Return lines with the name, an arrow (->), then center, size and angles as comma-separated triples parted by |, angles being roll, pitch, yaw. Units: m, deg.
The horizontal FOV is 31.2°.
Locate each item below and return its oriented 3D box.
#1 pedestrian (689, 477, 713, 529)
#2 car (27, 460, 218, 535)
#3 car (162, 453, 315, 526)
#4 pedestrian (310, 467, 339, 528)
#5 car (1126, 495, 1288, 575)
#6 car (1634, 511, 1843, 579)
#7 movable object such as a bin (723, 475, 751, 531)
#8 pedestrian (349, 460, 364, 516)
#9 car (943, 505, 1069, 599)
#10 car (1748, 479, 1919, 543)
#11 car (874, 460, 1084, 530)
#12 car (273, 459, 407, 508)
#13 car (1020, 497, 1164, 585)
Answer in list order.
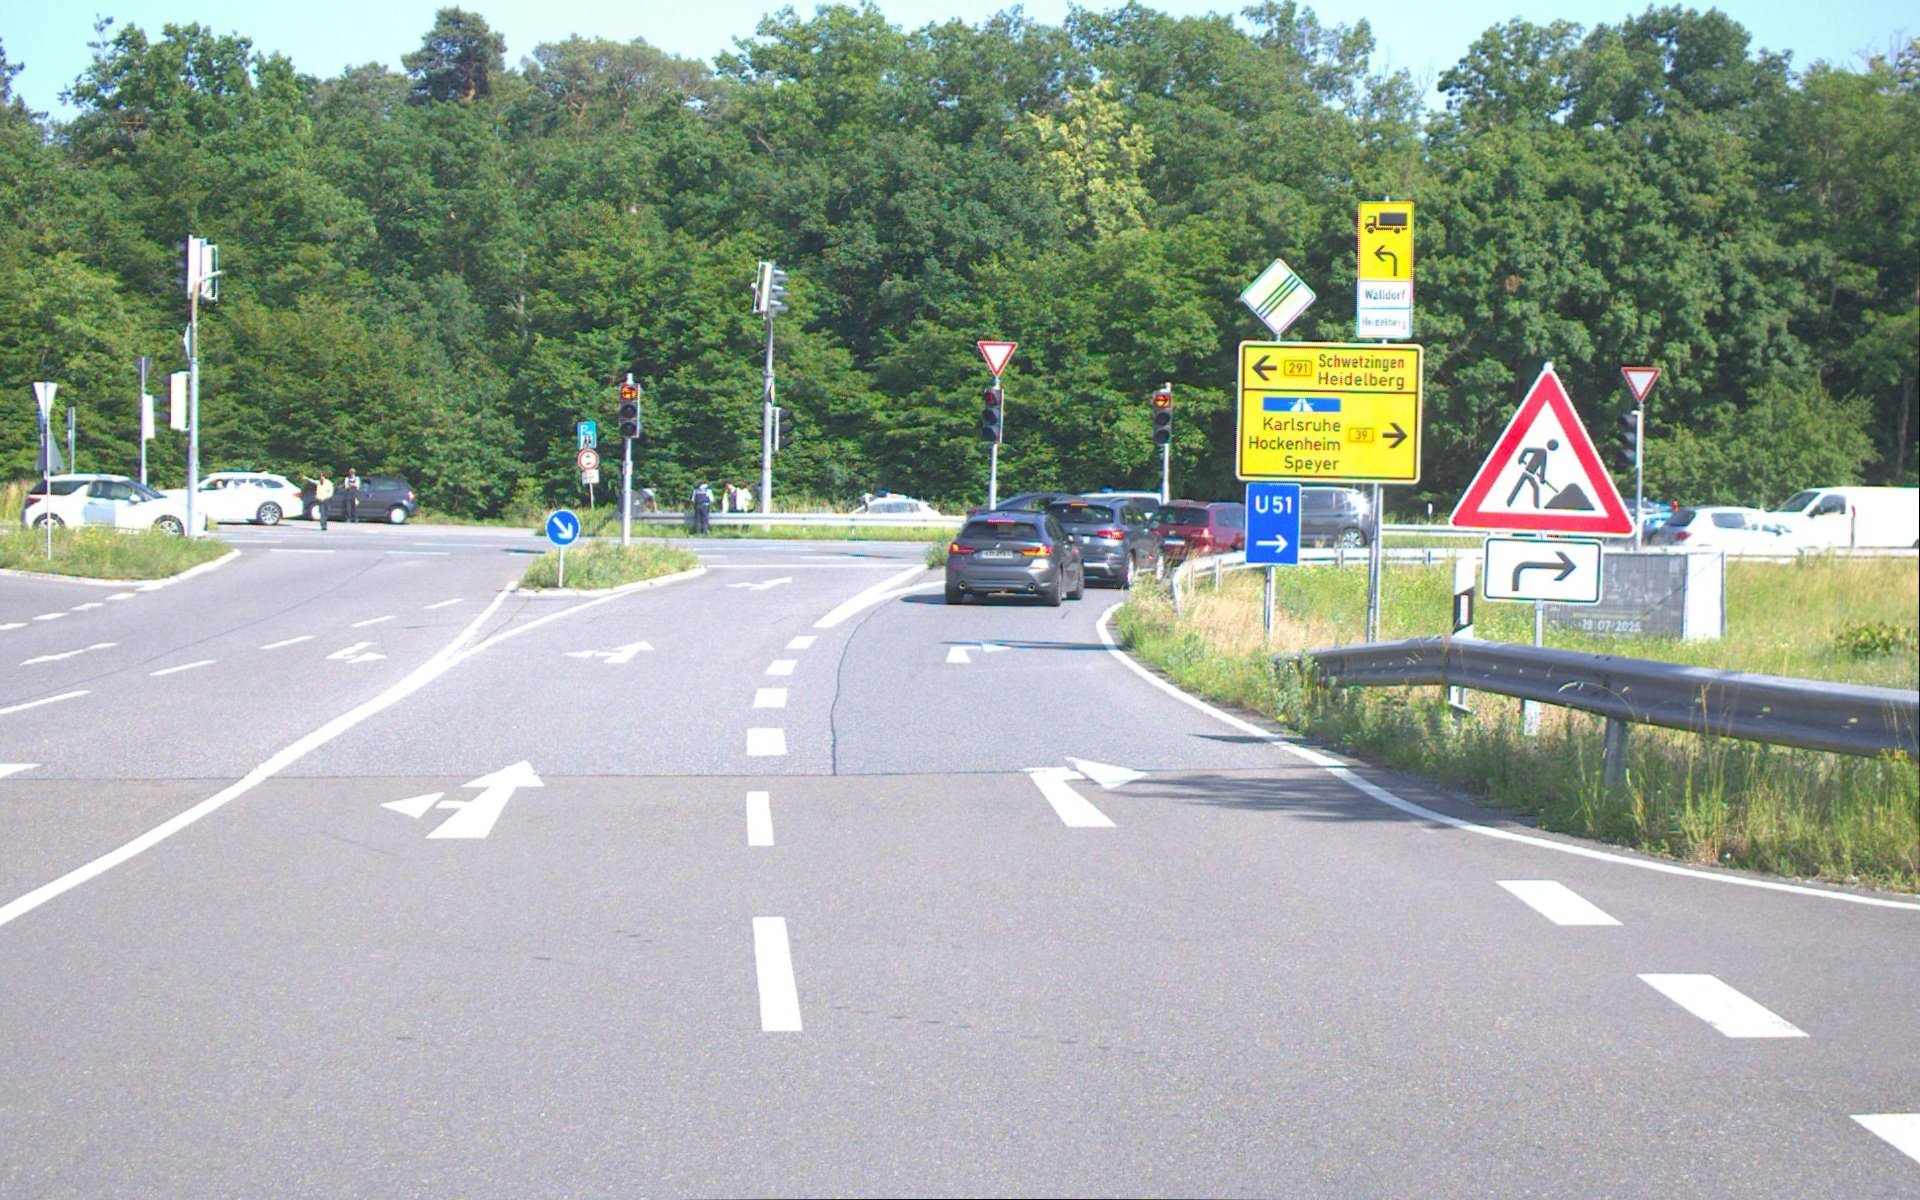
pedestrian -> -6.938, -2.601, 92.036 | 0.523, 1.386, 0.514 | -1, 1, 8
car -> -17.947, -2.191, 73.791 | 3.832, 1.481, 1.891 | 1, 1, -10
car -> -20.828, -3.184, 99.198 | 3.986, 2.006, 1.796 | -2, 2, -24
pedestrian -> -17.869, -2.888, 96.645 | 0.756, 1.715, 0.679 | -1, 2, -14
car -> 4.869, -1.284, 67.284 | 1.802, 1.495, 3.995 | 2, 2, 26
car -> 17.875, -1.276, 79.006 | 4.227, 1.454, 2.001 | -1, 2, -10
movable object such as a bin -> -6.006, -2.616, 92.633 | 0.602, 1.483, 0.732 | -1, 1, 4
pedestrian -> -18.460, -3.418, 105.131 | 0.407, 1.708, 0.453 | -1, 1, -7
car -> 0.763, -0.783, 54.565 | 1.799, 1.393, 4.000 | -1, 2, 3
car -> 22.806, -2.277, 87.687 | 4.880, 1.546, 2.001 | -1, 2, -9
car -> 0.410, -2.333, 76.444 | 4.363, 1.454, 2.001 | -1, 2, -10
car -> -19.102, -3.580, 105.989 | 3.986, 1.417, 1.796 | -1, 2, -9
car -> 2.407, -1.080, 61.795 | 1.800, 1.495, 3.998 | 1, 2, 14
